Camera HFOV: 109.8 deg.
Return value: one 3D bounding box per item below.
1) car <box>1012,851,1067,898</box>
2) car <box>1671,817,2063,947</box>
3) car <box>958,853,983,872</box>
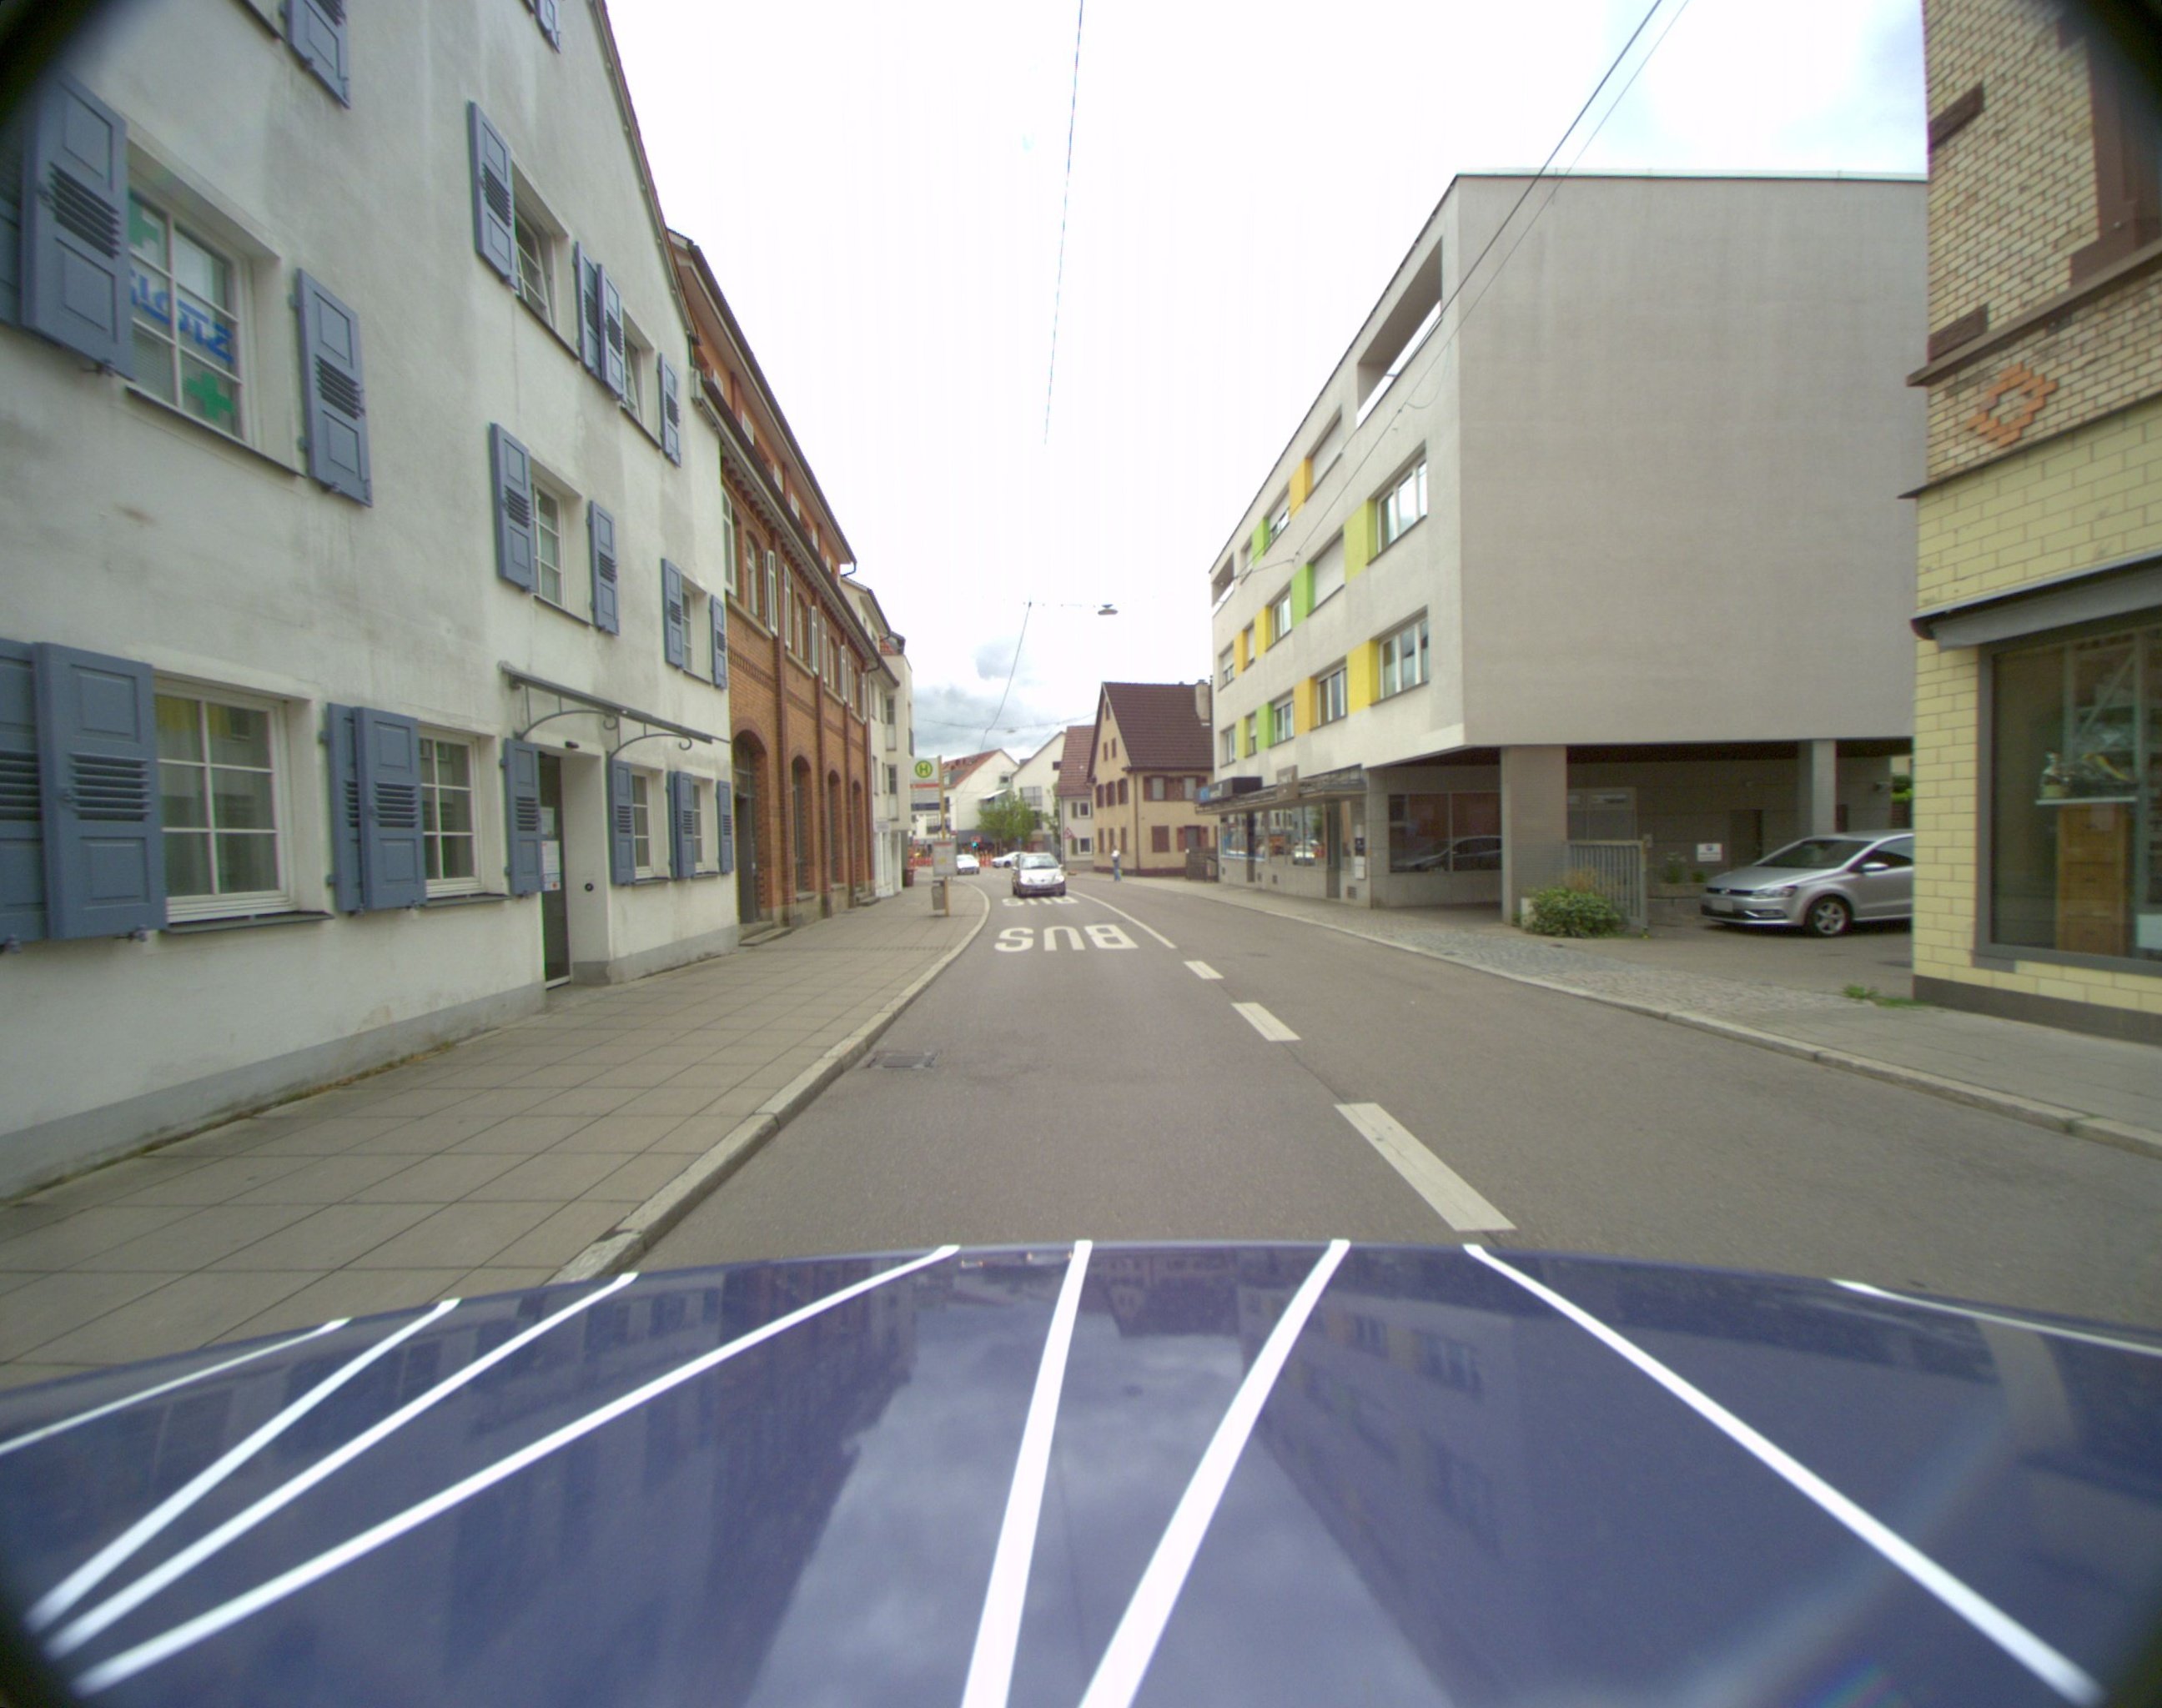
[{"bbox_3d":[-1.562,0.712,28.561,1.895,1.618,3.998,-1,0,-3],"label":"car"},{"bbox_3d":[11.728,0.381,11.565,4.007,1.652,1.885,-2,1,0],"label":"car"},{"bbox_3d":[-8.297,0.596,57.423,1.756,1.347,3.997,-2,0,-7],"label":"car"}]
